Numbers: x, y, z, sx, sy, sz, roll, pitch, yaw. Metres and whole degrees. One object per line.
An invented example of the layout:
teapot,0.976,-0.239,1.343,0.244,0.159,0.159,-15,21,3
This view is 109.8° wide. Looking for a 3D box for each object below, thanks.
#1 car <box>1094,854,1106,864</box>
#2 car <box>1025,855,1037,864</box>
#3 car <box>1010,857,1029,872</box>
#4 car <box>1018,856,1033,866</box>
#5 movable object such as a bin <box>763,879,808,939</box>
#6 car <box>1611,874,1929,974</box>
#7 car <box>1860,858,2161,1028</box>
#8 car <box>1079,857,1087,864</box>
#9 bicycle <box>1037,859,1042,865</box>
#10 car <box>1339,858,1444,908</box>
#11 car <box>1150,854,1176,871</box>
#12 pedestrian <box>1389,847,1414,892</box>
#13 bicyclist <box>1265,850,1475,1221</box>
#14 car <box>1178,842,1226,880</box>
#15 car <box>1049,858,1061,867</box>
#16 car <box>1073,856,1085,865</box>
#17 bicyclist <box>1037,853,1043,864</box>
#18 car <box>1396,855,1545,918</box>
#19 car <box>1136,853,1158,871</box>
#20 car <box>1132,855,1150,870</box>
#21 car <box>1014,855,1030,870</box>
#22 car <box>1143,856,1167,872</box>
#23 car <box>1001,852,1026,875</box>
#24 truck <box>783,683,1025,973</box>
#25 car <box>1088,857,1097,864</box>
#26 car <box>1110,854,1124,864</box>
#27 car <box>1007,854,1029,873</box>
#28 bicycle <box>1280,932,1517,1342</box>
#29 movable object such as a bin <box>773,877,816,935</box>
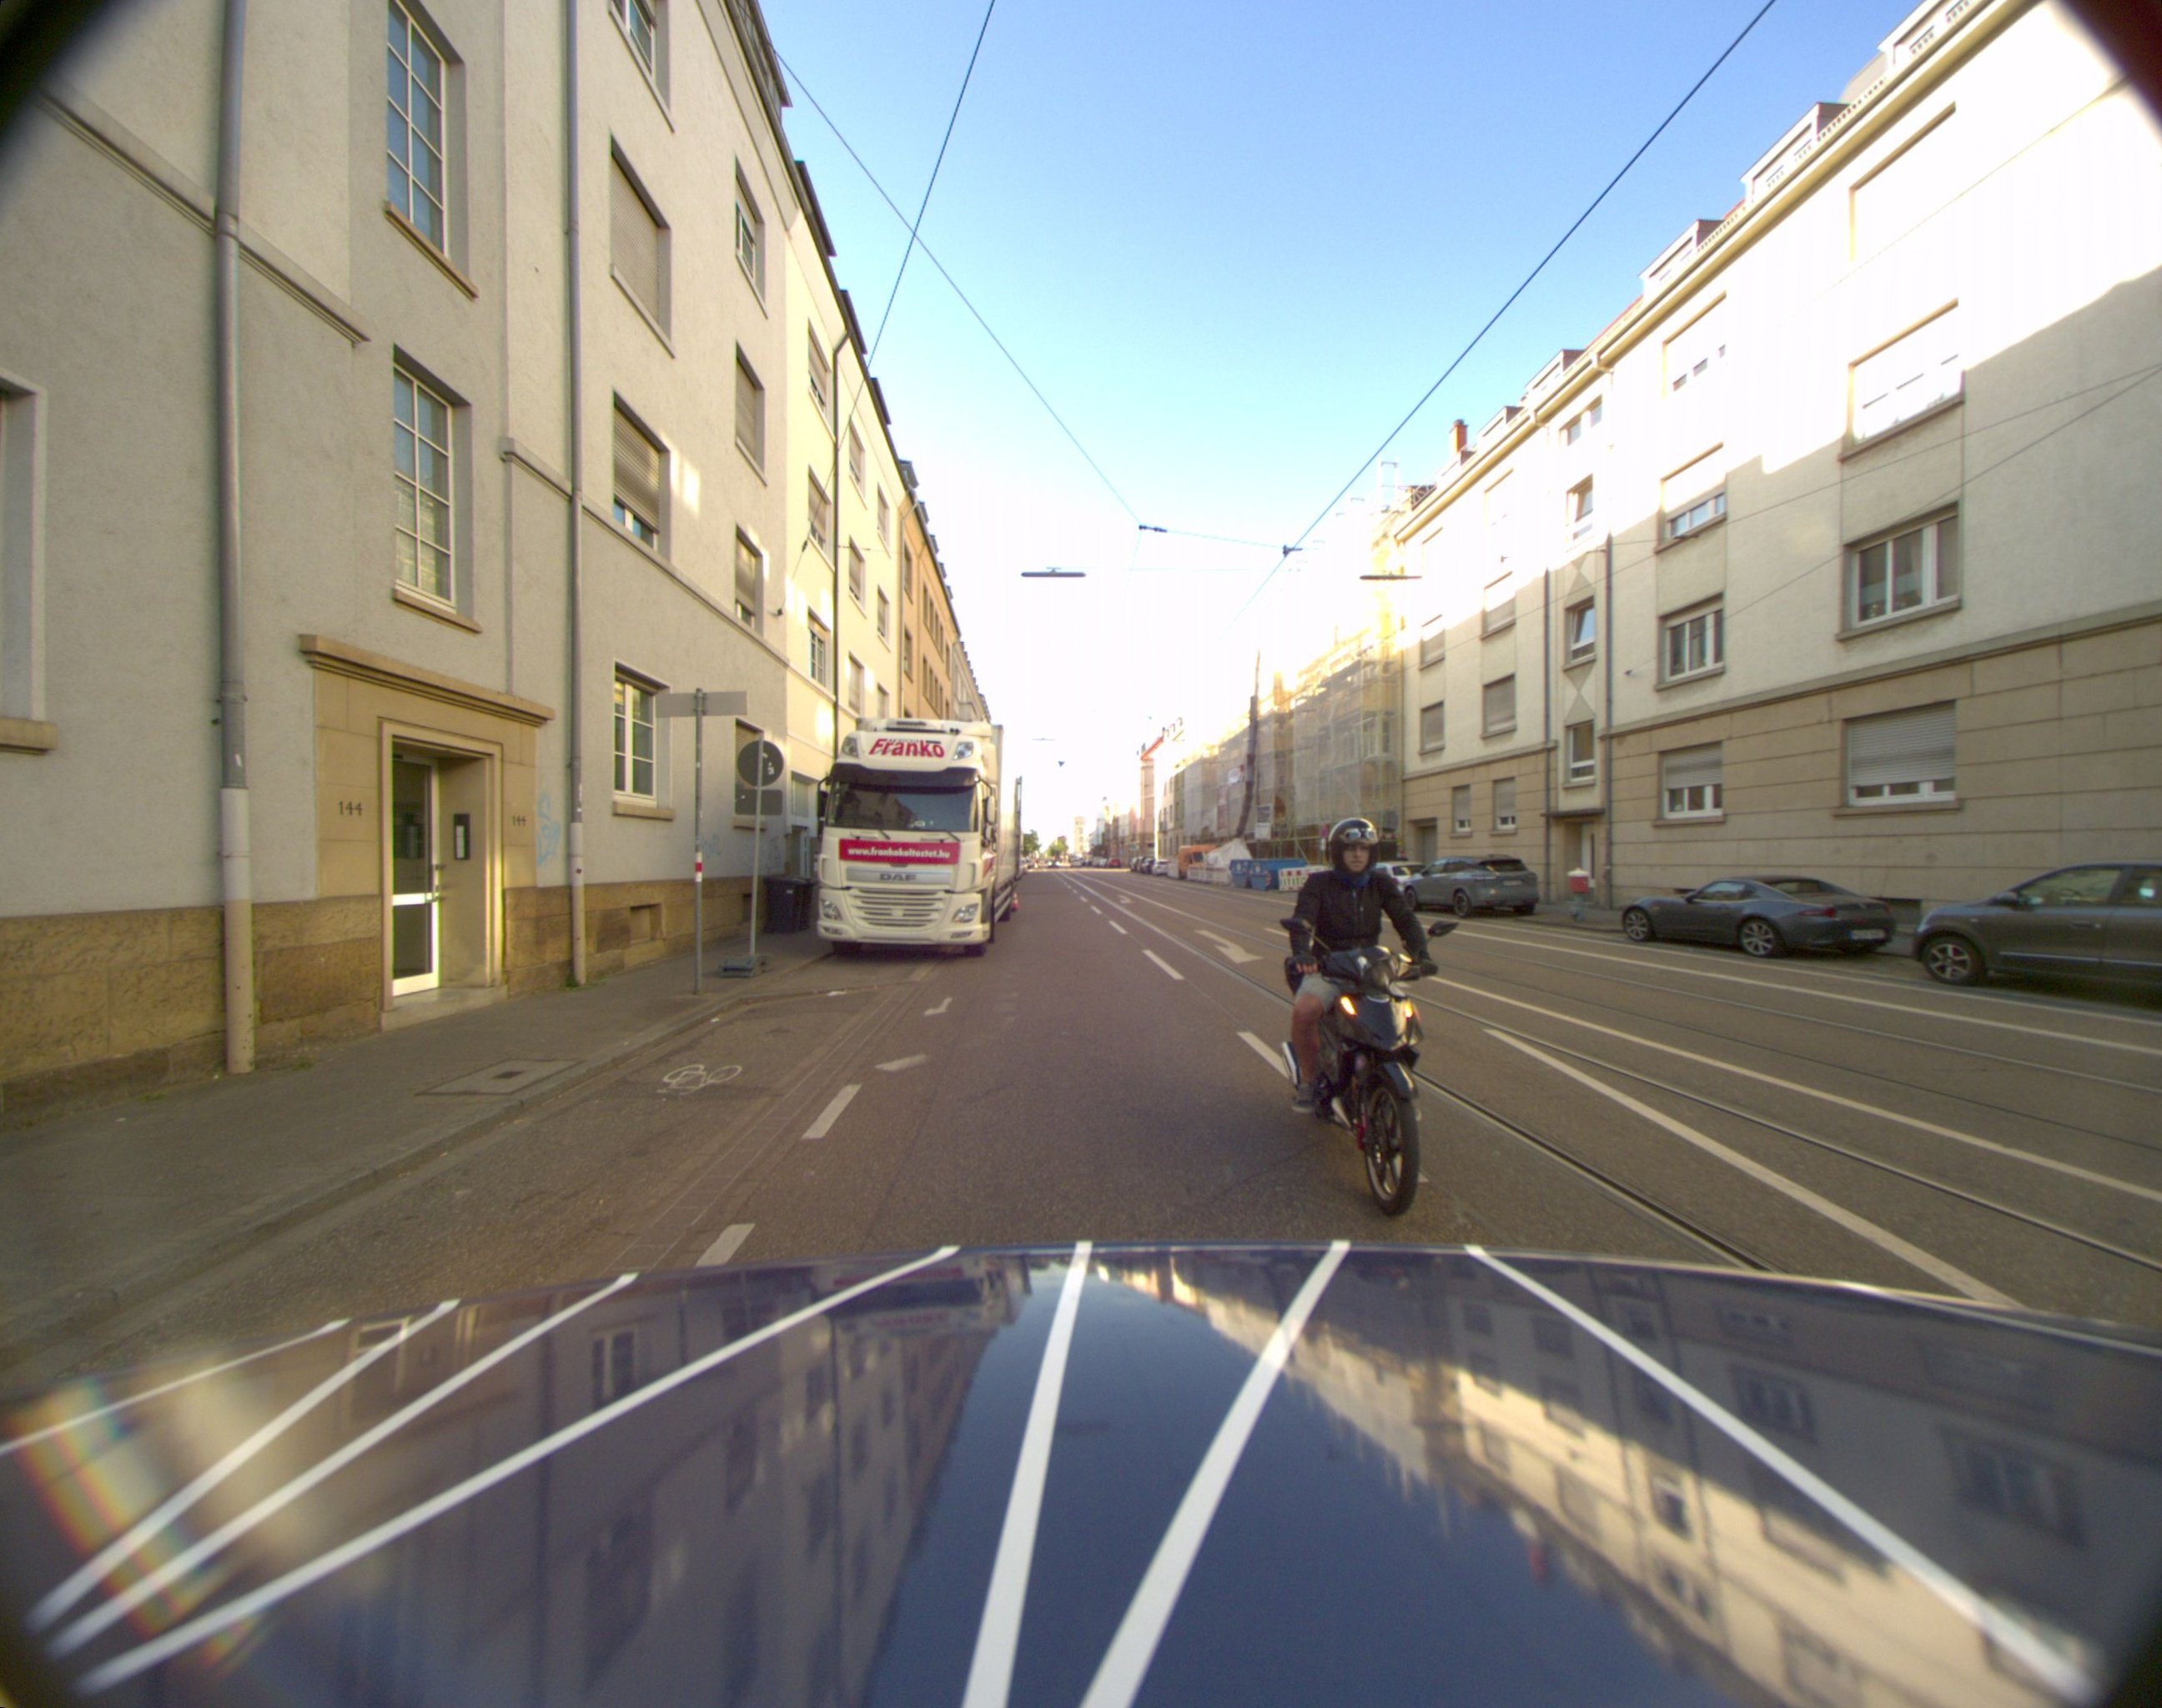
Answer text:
car,3.792,0.967,148.629,1.999,2.002,3.999,1,0,-3
car,-9.354,1.024,142.252,1.999,1.630,3.999,1,0,-3
car,-6.195,1.021,76.609,1.703,1.496,3.862,0,0,-2
car,-8.180,1.010,112.288,1.999,1.412,3.726,1,0,-3
movable object such as a bin,-5.582,1.025,14.364,0.660,1.098,0.541,0,0,-6
car,11.077,1.043,12.626,1.704,1.209,3.784,-2,1,-4
car,11.326,0.882,8.164,1.704,1.560,3.998,-2,1,-3
car,0.515,1.594,191.144,1.799,1.494,3.768,-2,0,-4
bicycle,-5.529,1.089,101.656,0.744,0.850,1.885,0,0,-3
car,10.355,0.916,25.631,1.704,1.407,3.998,-3,1,-3
car,7.603,0.797,70.563,1.751,1.502,3.999,1,0,-3
pedestrian,12.136,0.589,28.791,0.582,1.684,0.716,-2,1,-3
bicyclist,1.348,0.756,3.686,0.842,1.545,0.851,0,0,16
car,8.350,0.464,52.845,2.125,2.454,5.998,1,0,-3
car,-4.318,1.380,125.745,1.859,1.369,4.000,0,0,0
car,-0.368,1.212,142.086,1.826,1.559,4.199,-2,0,-5
bicyclist,-5.519,0.566,101.768,0.744,1.481,0.816,0,0,-3
car,10.552,0.807,20.988,1.704,1.558,4.404,0,0,-3
car,7.121,0.842,82.636,1.799,1.835,3.768,-2,0,-4
car,6.881,0.971,87.632,1.798,1.601,3.769,0,0,0
car,-6.321,0.849,81.727,1.703,1.581,3.959,0,0,-3
car,7.414,0.989,76.684,1.703,1.569,4.221,-2,0,-4
car,-5.216,0.696,58.974,1.713,1.683,4.588,1,0,-3
truck,-2.920,-0.345,16.580,2.868,4.049,11.776,0,0,-2
car,2.515,1.397,167.099,1.799,1.494,3.768,-2,0,-4
car,5.562,0.800,118.049,1.799,1.494,3.768,-2,0,-4
car,-5.891,0.882,70.950,1.703,1.688,4.187,1,0,-1
bicycle,1.337,1.058,3.596,0.739,1.170,1.976,0,0,14
movable object such as a bin,-5.625,1.022,14.955,0.660,1.098,0.541,0,0,-6
